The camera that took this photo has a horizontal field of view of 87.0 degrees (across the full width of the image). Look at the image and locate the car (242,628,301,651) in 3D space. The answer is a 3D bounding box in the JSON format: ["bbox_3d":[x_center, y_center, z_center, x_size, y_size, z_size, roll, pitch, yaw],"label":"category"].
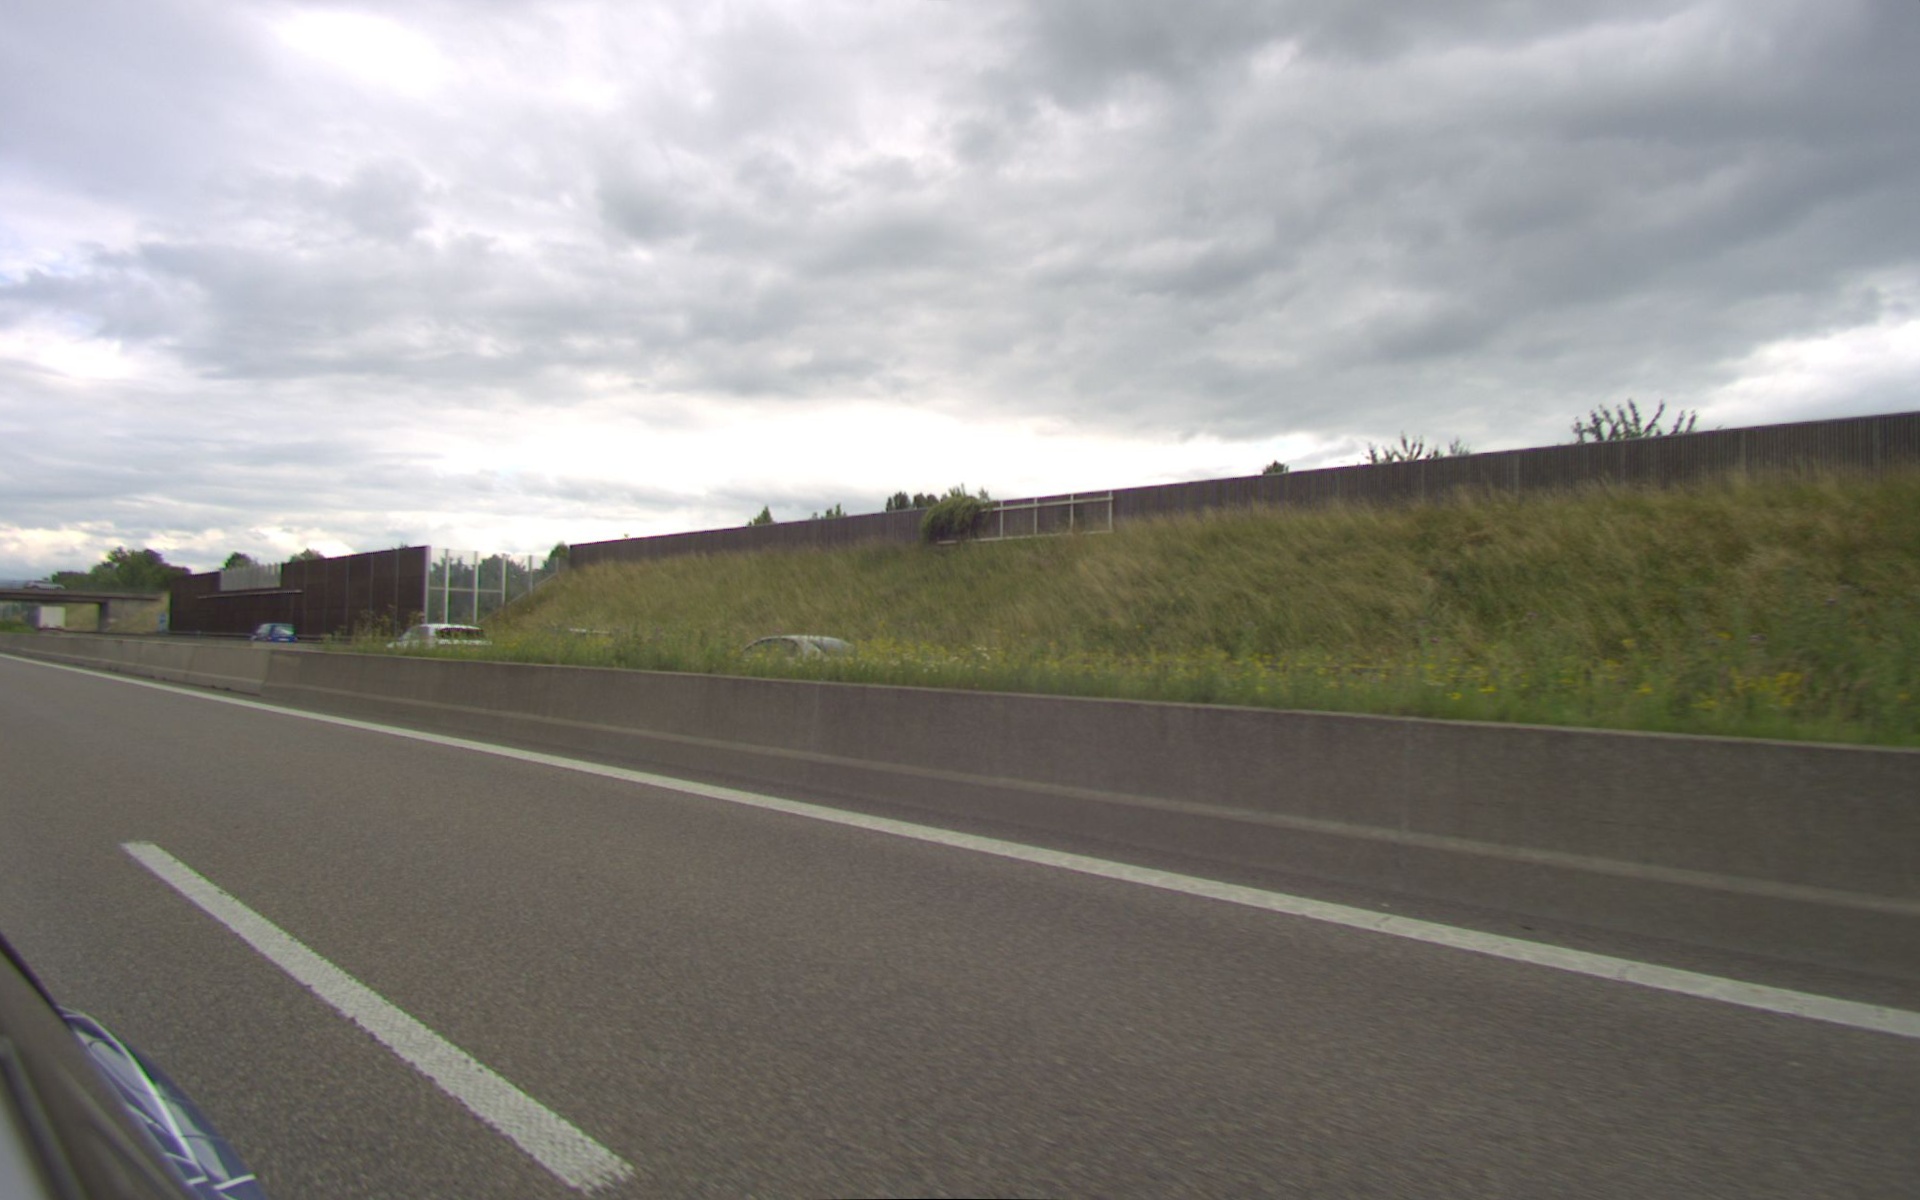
[{"bbox_3d":[-44.549,2.526,65.482,4.938,1.374,1.973,-1,-1,41],"label":"car"}]

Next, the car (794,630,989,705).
[{"bbox_3d":[-1.392,1.247,19.839,3.697,1.281,1.693,-1,-1,41],"label":"car"}]

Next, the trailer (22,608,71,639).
[{"bbox_3d":[-123.331,3.191,136.507,12.674,4.010,3.633,-1,-1,42],"label":"trailer"}]

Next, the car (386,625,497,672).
[{"bbox_3d":[-15.520,1.404,30.212,3.697,1.281,1.693,-1,-1,41],"label":"car"}]
